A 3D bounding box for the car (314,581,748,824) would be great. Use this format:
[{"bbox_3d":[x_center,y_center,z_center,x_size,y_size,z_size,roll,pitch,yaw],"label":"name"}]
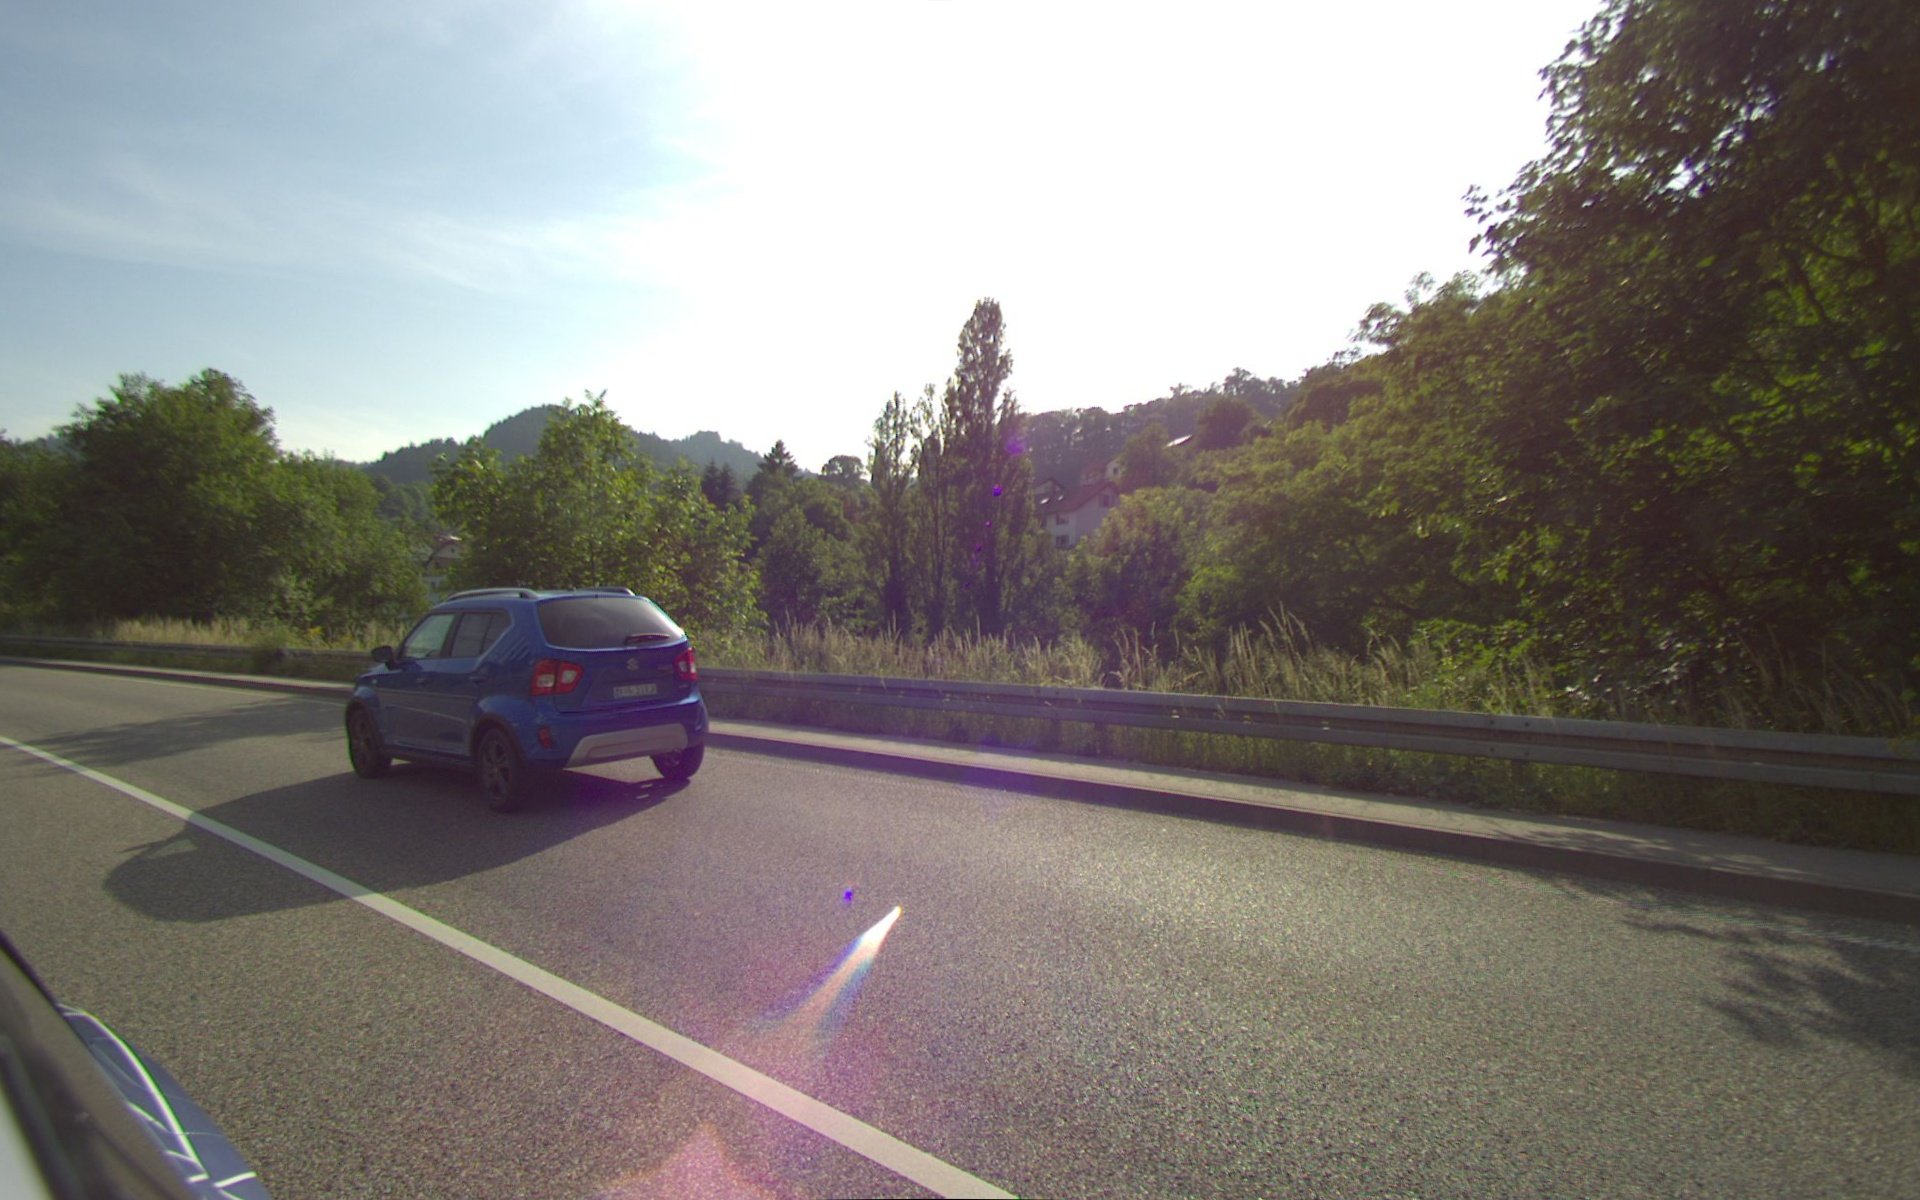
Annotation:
[{"bbox_3d":[-3.755,0.681,8.543,3.997,1.578,1.734,-1,0,40],"label":"car"}]
